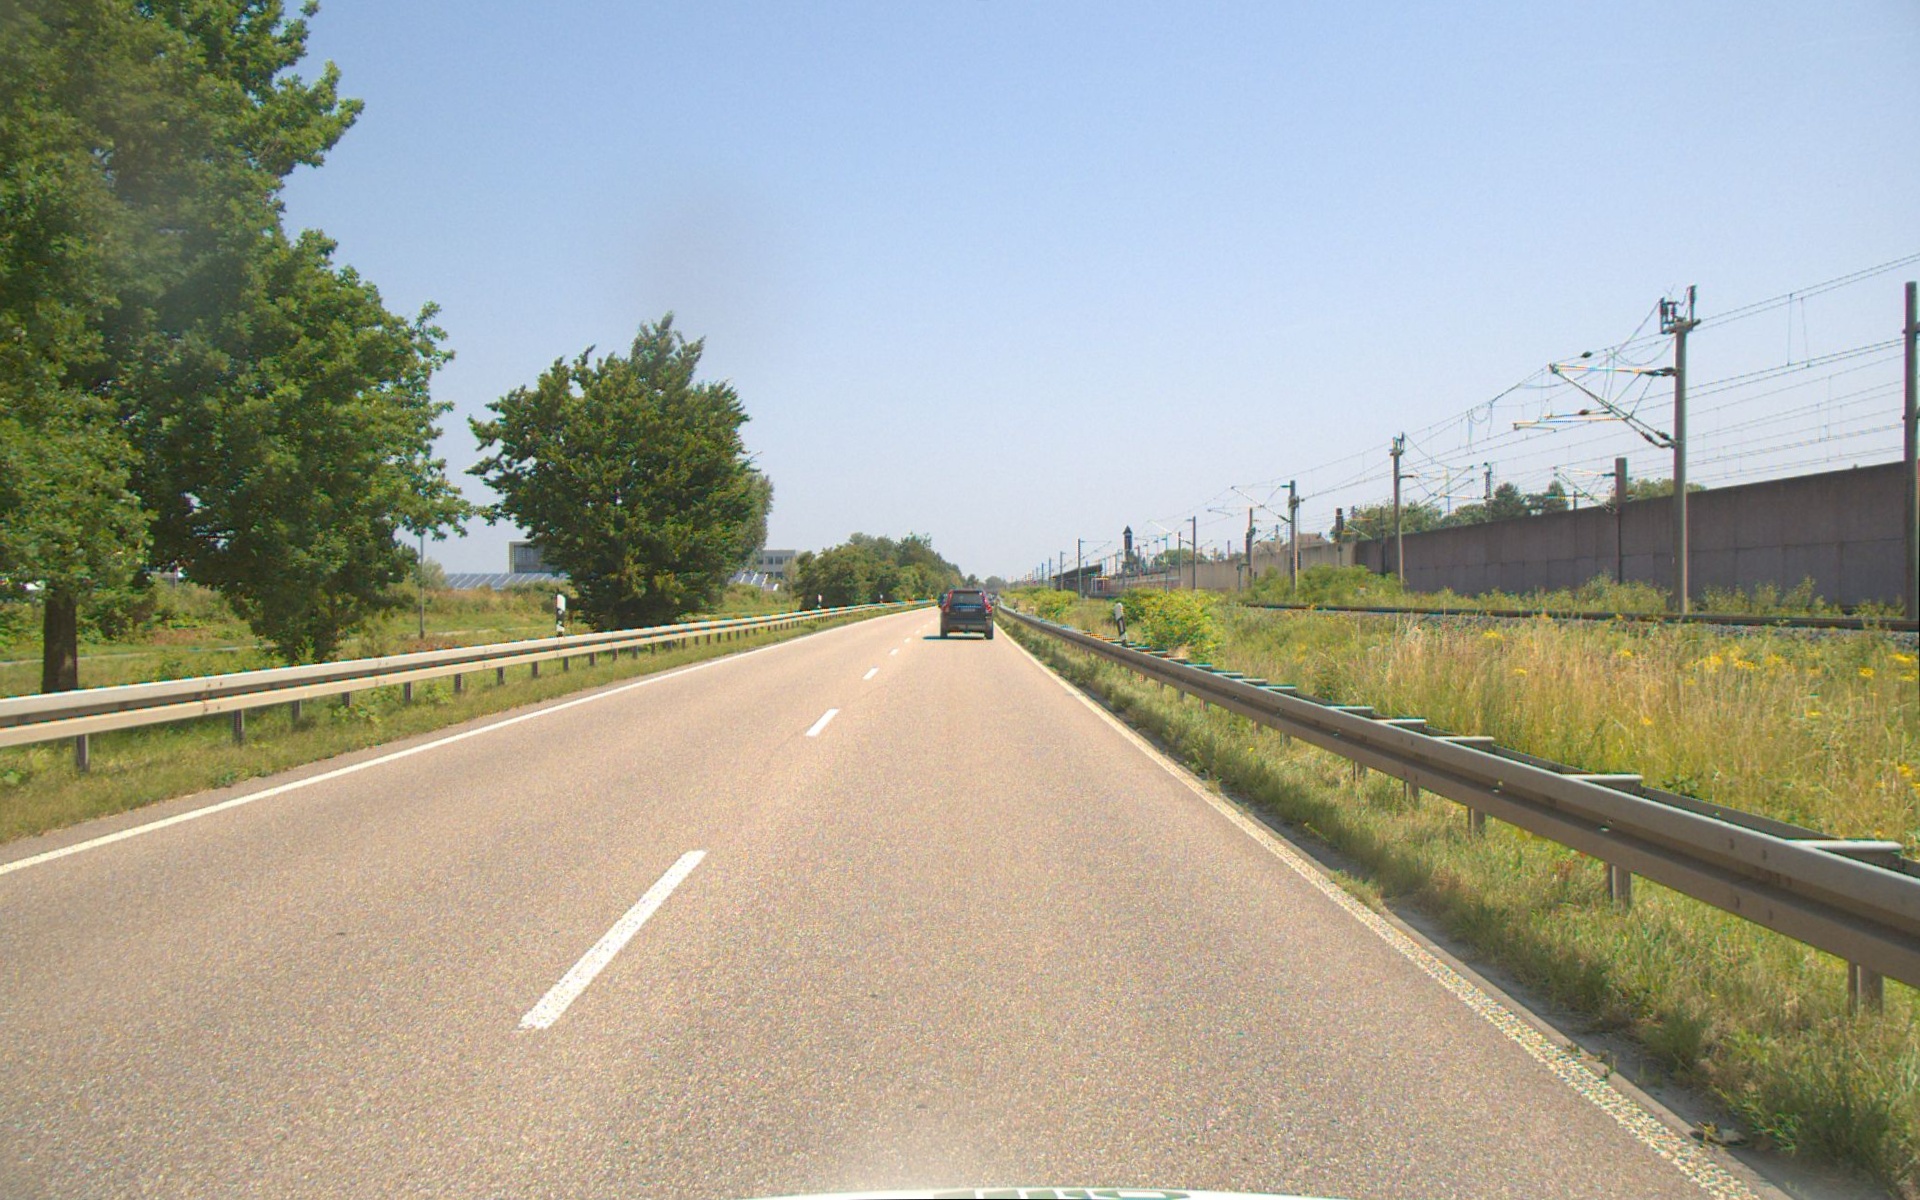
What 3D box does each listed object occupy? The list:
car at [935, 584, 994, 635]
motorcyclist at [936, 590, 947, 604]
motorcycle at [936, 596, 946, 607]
[{"bbox_3d":[0.121,0.331,57.985,1.953,1.730,3.999,0,0,-1],"label":"car"},{"bbox_3d":[-1.807,-0.284,160.131,0.973,1.332,0.935,1,0,0],"label":"motorcyclist"},{"bbox_3d":[-1.830,0.171,160.100,0.909,1.046,2.268,1,0,0],"label":"motorcycle"}]
